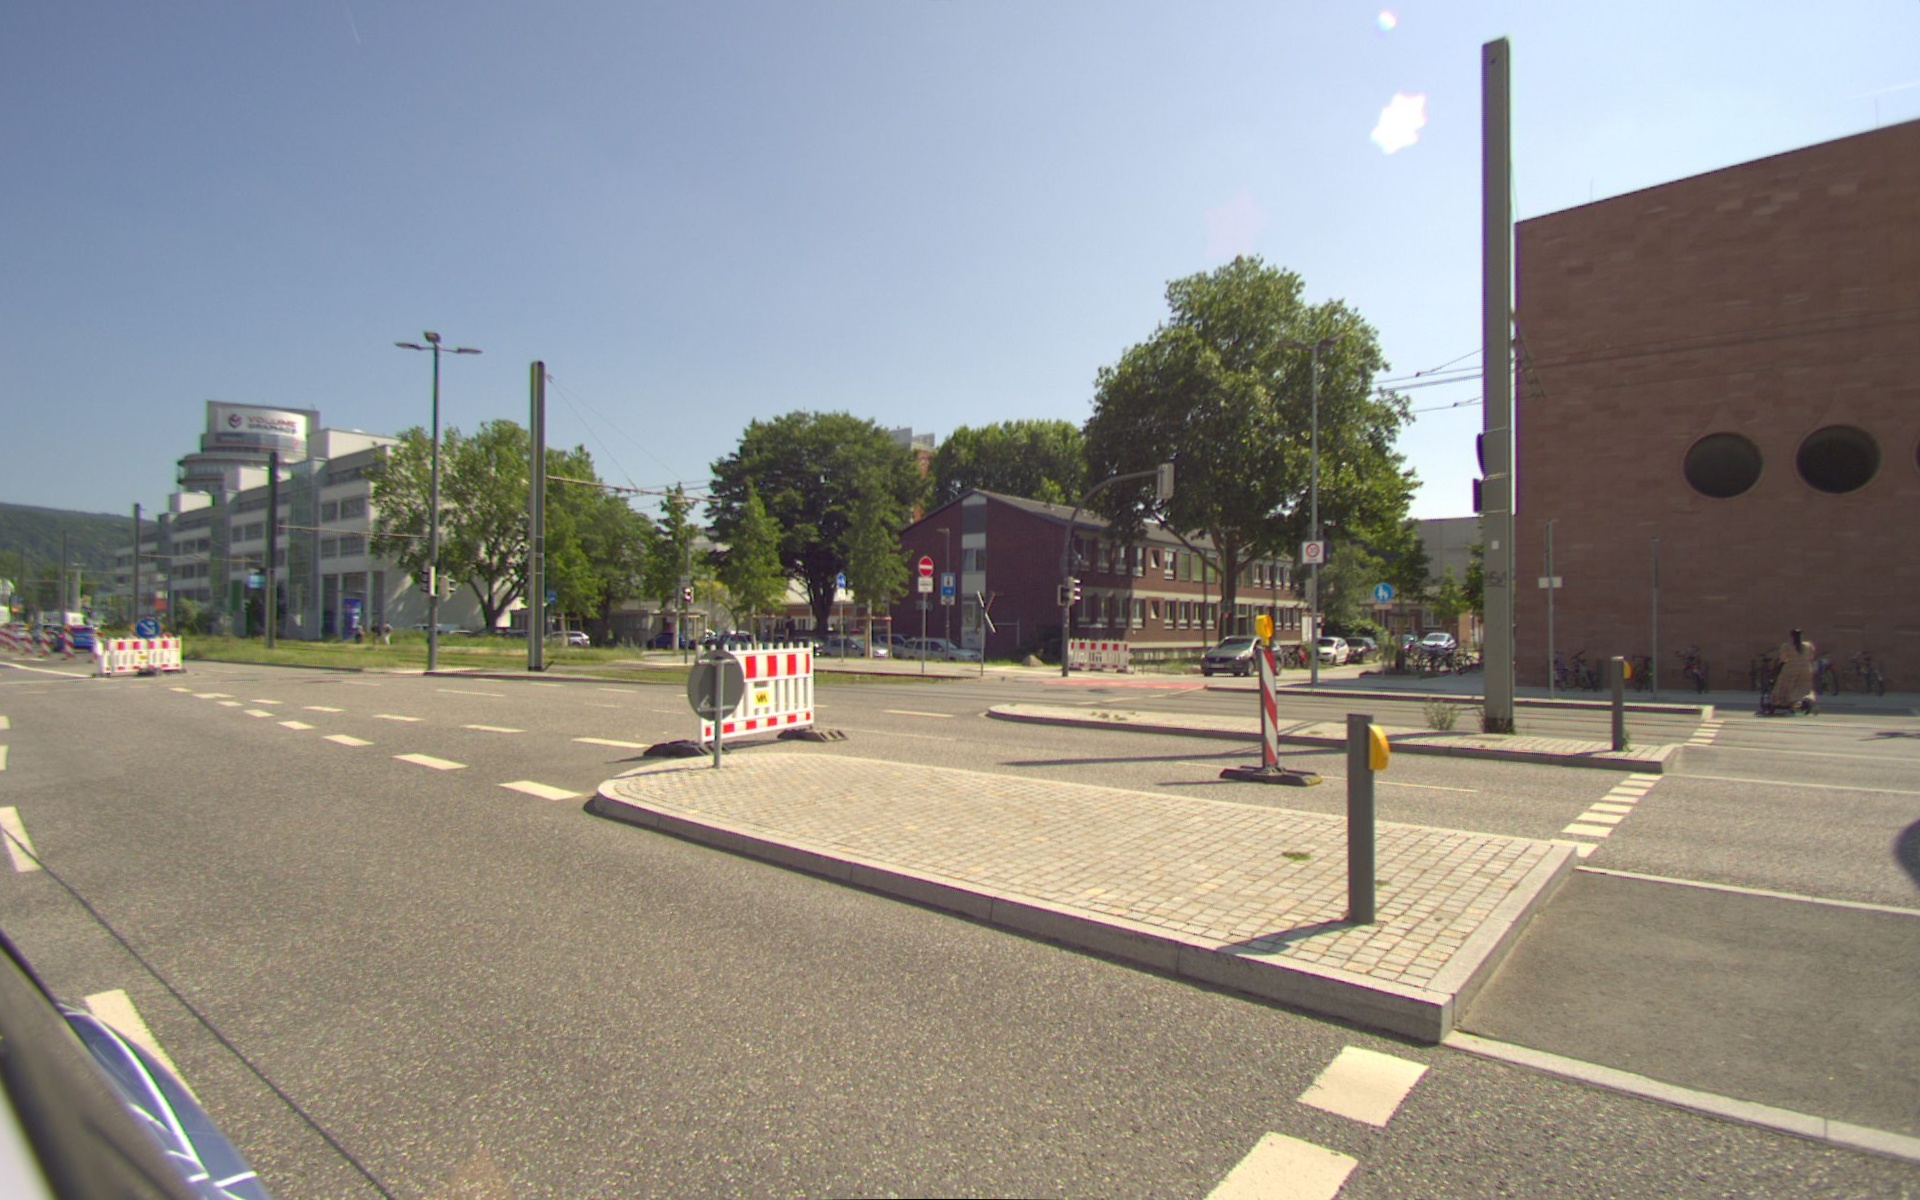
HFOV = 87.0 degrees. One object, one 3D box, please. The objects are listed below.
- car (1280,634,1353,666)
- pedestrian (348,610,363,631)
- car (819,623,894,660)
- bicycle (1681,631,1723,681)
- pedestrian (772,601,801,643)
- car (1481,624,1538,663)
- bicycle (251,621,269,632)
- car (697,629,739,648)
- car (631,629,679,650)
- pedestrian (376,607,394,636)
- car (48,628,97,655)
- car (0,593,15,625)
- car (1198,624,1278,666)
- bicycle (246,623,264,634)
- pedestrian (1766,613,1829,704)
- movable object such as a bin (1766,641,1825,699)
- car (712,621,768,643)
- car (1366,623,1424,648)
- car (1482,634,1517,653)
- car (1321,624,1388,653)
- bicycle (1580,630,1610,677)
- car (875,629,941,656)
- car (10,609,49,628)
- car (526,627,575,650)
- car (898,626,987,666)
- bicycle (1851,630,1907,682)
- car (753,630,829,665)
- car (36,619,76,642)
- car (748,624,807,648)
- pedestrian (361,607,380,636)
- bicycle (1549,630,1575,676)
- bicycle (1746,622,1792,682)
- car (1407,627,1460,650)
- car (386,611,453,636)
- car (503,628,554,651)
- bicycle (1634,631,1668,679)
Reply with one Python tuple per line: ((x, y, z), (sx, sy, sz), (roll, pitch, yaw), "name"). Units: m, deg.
((18.013, 2.493, 51.048), (2.001, 1.413, 3.941), (0, 0, 45), "car")
((-45.270, 1.556, 75.770), (0.827, 1.588, 0.805), (-2, -2, 45), "pedestrian")
((-5.450, 2.152, 53.056), (3.937, 1.774, 1.681), (0, 0, 40), "car")
((19.491, 1.444, 26.622), (0.537, 1.221, 2.039), (-1, -1, 27), "bicycle")
((-7.730, 0.964, 45.030), (0.802, 1.861, 1.108), (1, -2, -44), "pedestrian")
((25.765, 1.999, 47.415), (1.692, 1.702, 3.507), (-1, -1, 40), "car")
((-80.578, 3.005, 116.563), (0.438, 1.198, 1.628), (-1, 0, 45), "bicycle")
((-19.530, 3.114, 81.713), (3.341, 1.464, 1.522), (-1, 0, 38), "car")
((-24.094, 3.100, 79.901), (3.629, 1.603, 1.753), (-1, 0, 35), "car")
((-40.994, 1.503, 72.158), (0.983, 2.029, 0.830), (-1, -1, 42), "pedestrian")
((-48.150, 2.226, 54.861), (4.290, 1.438, 1.610), (-2, -2, 43), "car")
((-86.606, 0.816, 90.659), (5.983, 2.761, 2.056), (0, -3, 41), "car")
((10.095, 1.589, 36.632), (1.571, 1.380, 3.444), (-1, -1, 38), "car")
((-81.695, 3.335, 117.322), (0.522, 1.198, 1.628), (-1, 0, 45), "bicycle")
((15.046, 1.033, 18.215), (0.792, 1.574, 0.921), (-1, -2, 37), "pedestrian")
((15.558, 1.290, 18.862), (0.792, 1.039, 0.706), (-1, -1, 37), "movable object such as a bin")
((-15.163, 2.196, 69.693), (4.264, 1.468, 1.523), (-1, -1, 40), "car")
((26.545, 2.123, 61.717), (2.001, 1.413, 3.941), (0, 0, 45), "car")
((46.661, 3.739, 87.444), (1.998, 1.413, 3.948), (0, 0, 39), "car")
((21.151, 2.031, 54.207), (2.001, 1.413, 3.941), (0, 0, 45), "car")
((17.430, 1.450, 27.793), (0.537, 1.221, 2.037), (-1, -1, 28), "bicycle")
((-3.056, 2.466, 58.961), (3.784, 1.468, 1.523), (-1, -1, 40), "car")
((-73.405, 1.461, 79.817), (4.465, 1.454, 1.656), (0, -3, 40), "car")
((-30.738, 2.860, 75.968), (3.629, 1.603, 1.753), (-1, 0, 35), "car")
((-0.891, 2.199, 49.595), (4.298, 1.774, 1.681), (0, 0, 40), "car")
((22.775, 1.366, 25.107), (0.537, 1.221, 2.037), (-1, -1, 28), "bicycle")
((-9.524, 2.622, 56.888), (4.527, 1.774, 1.681), (0, 0, 40), "car")
((-58.871, 1.965, 65.878), (4.296, 1.427, 1.563), (-1, -2, 43), "car")
((-11.822, 2.334, 65.458), (3.780, 1.468, 1.525), (0, -1, 36), "car")
((-41.672, 1.542, 71.554), (0.910, 2.029, 0.972), (-1, -1, 42), "pedestrian")
((16.837, 1.460, 28.324), (0.537, 1.221, 2.037), (-1, -1, 28), "bicycle")
((20.718, 1.302, 25.948), (0.537, 1.464, 2.037), (-1, -1, 28), "bicycle")
((31.515, 2.532, 67.253), (2.001, 1.413, 3.941), (0, 0, 45), "car")
((-47.395, 2.069, 88.814), (4.988, 2.196, 2.121), (1, -1, -24), "car")
((-31.276, 2.834, 73.405), (3.629, 1.603, 1.753), (-1, 0, 35), "car")
((18.502, 1.443, 27.123), (0.537, 1.221, 2.037), (-1, -1, 28), "bicycle")
